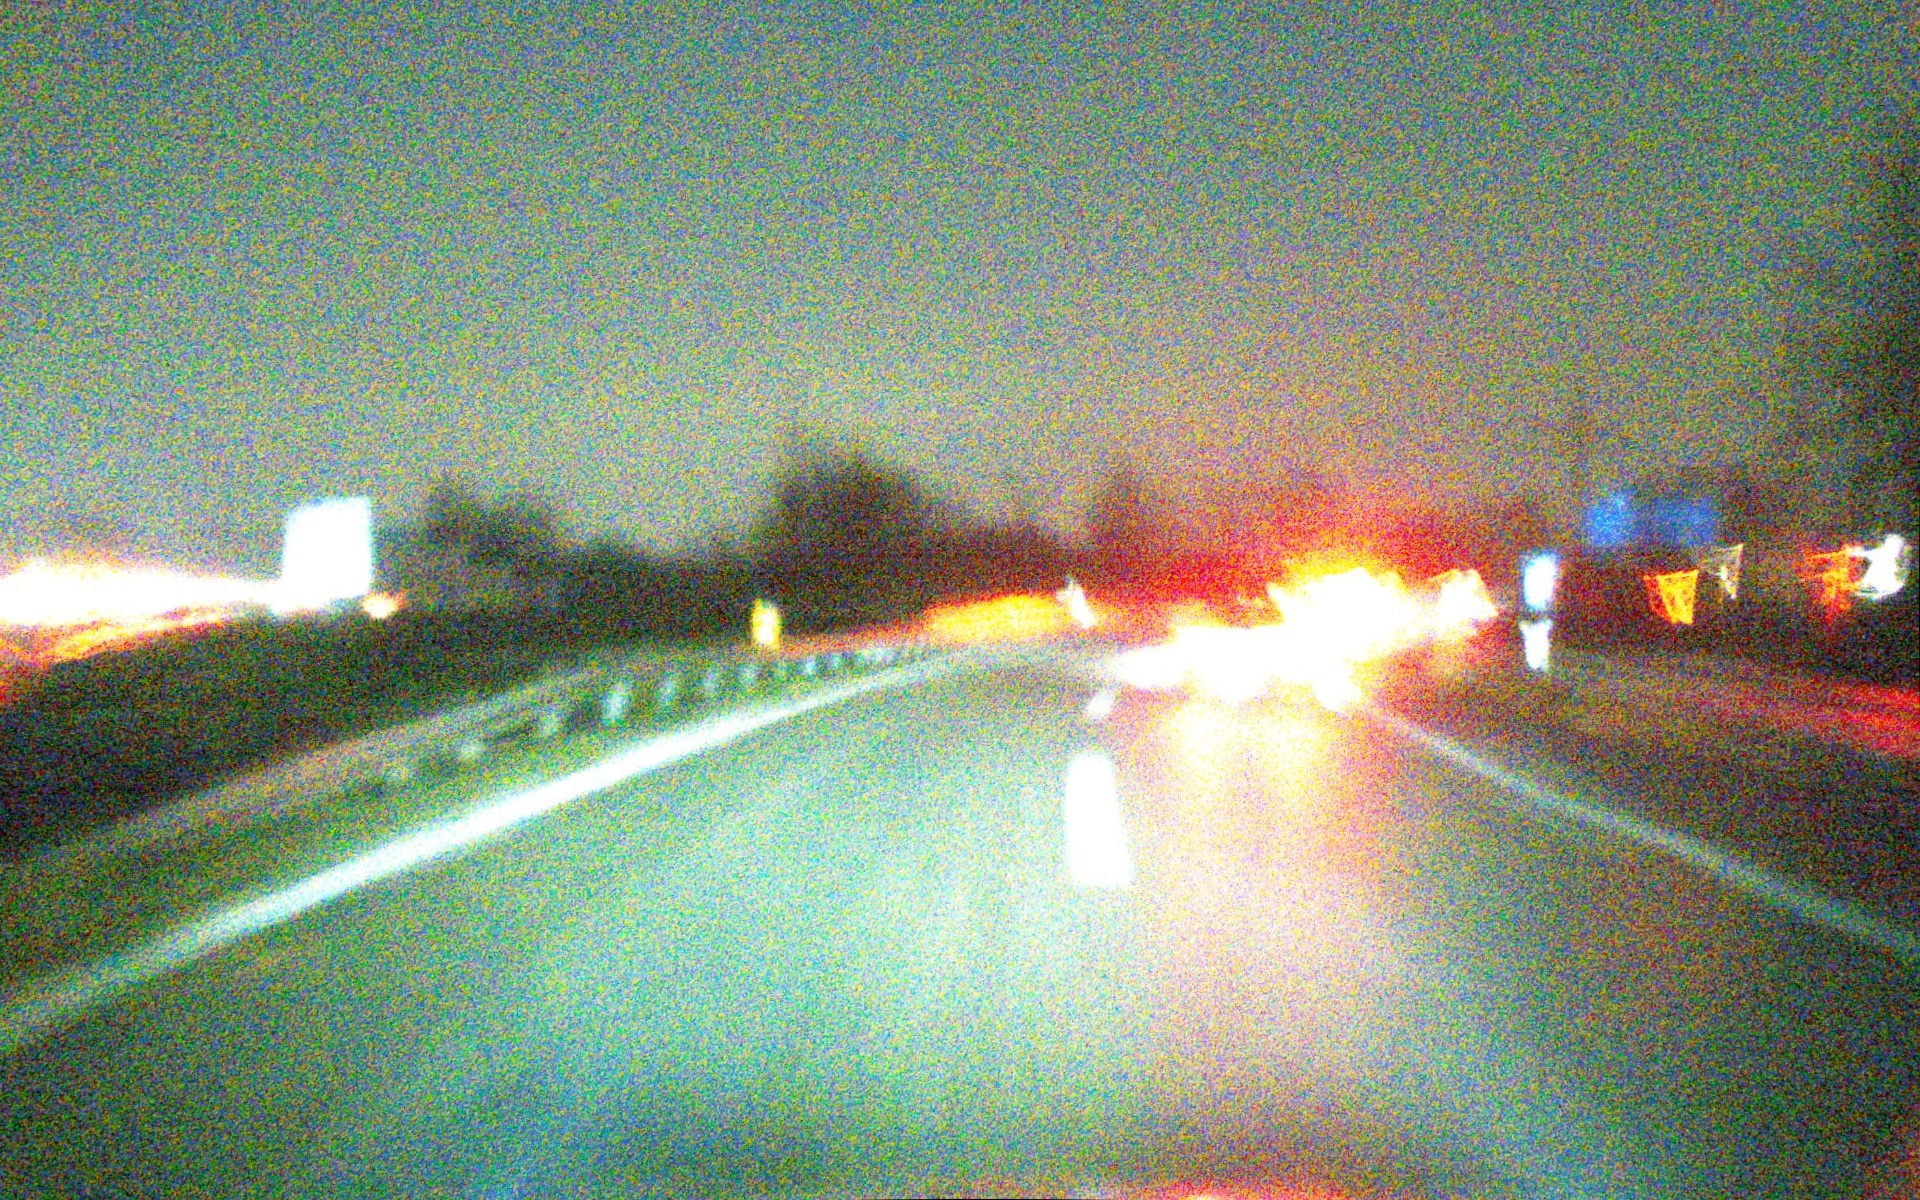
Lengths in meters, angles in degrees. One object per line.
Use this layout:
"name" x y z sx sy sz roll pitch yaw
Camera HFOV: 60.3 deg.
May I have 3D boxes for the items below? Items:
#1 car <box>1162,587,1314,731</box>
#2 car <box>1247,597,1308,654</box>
"car" 4.008 0.808 23.838 1.951 1.839 4.003 1 -1 10
"car" 10.886 0.894 56.899 1.951 1.839 4.003 1 -1 9
